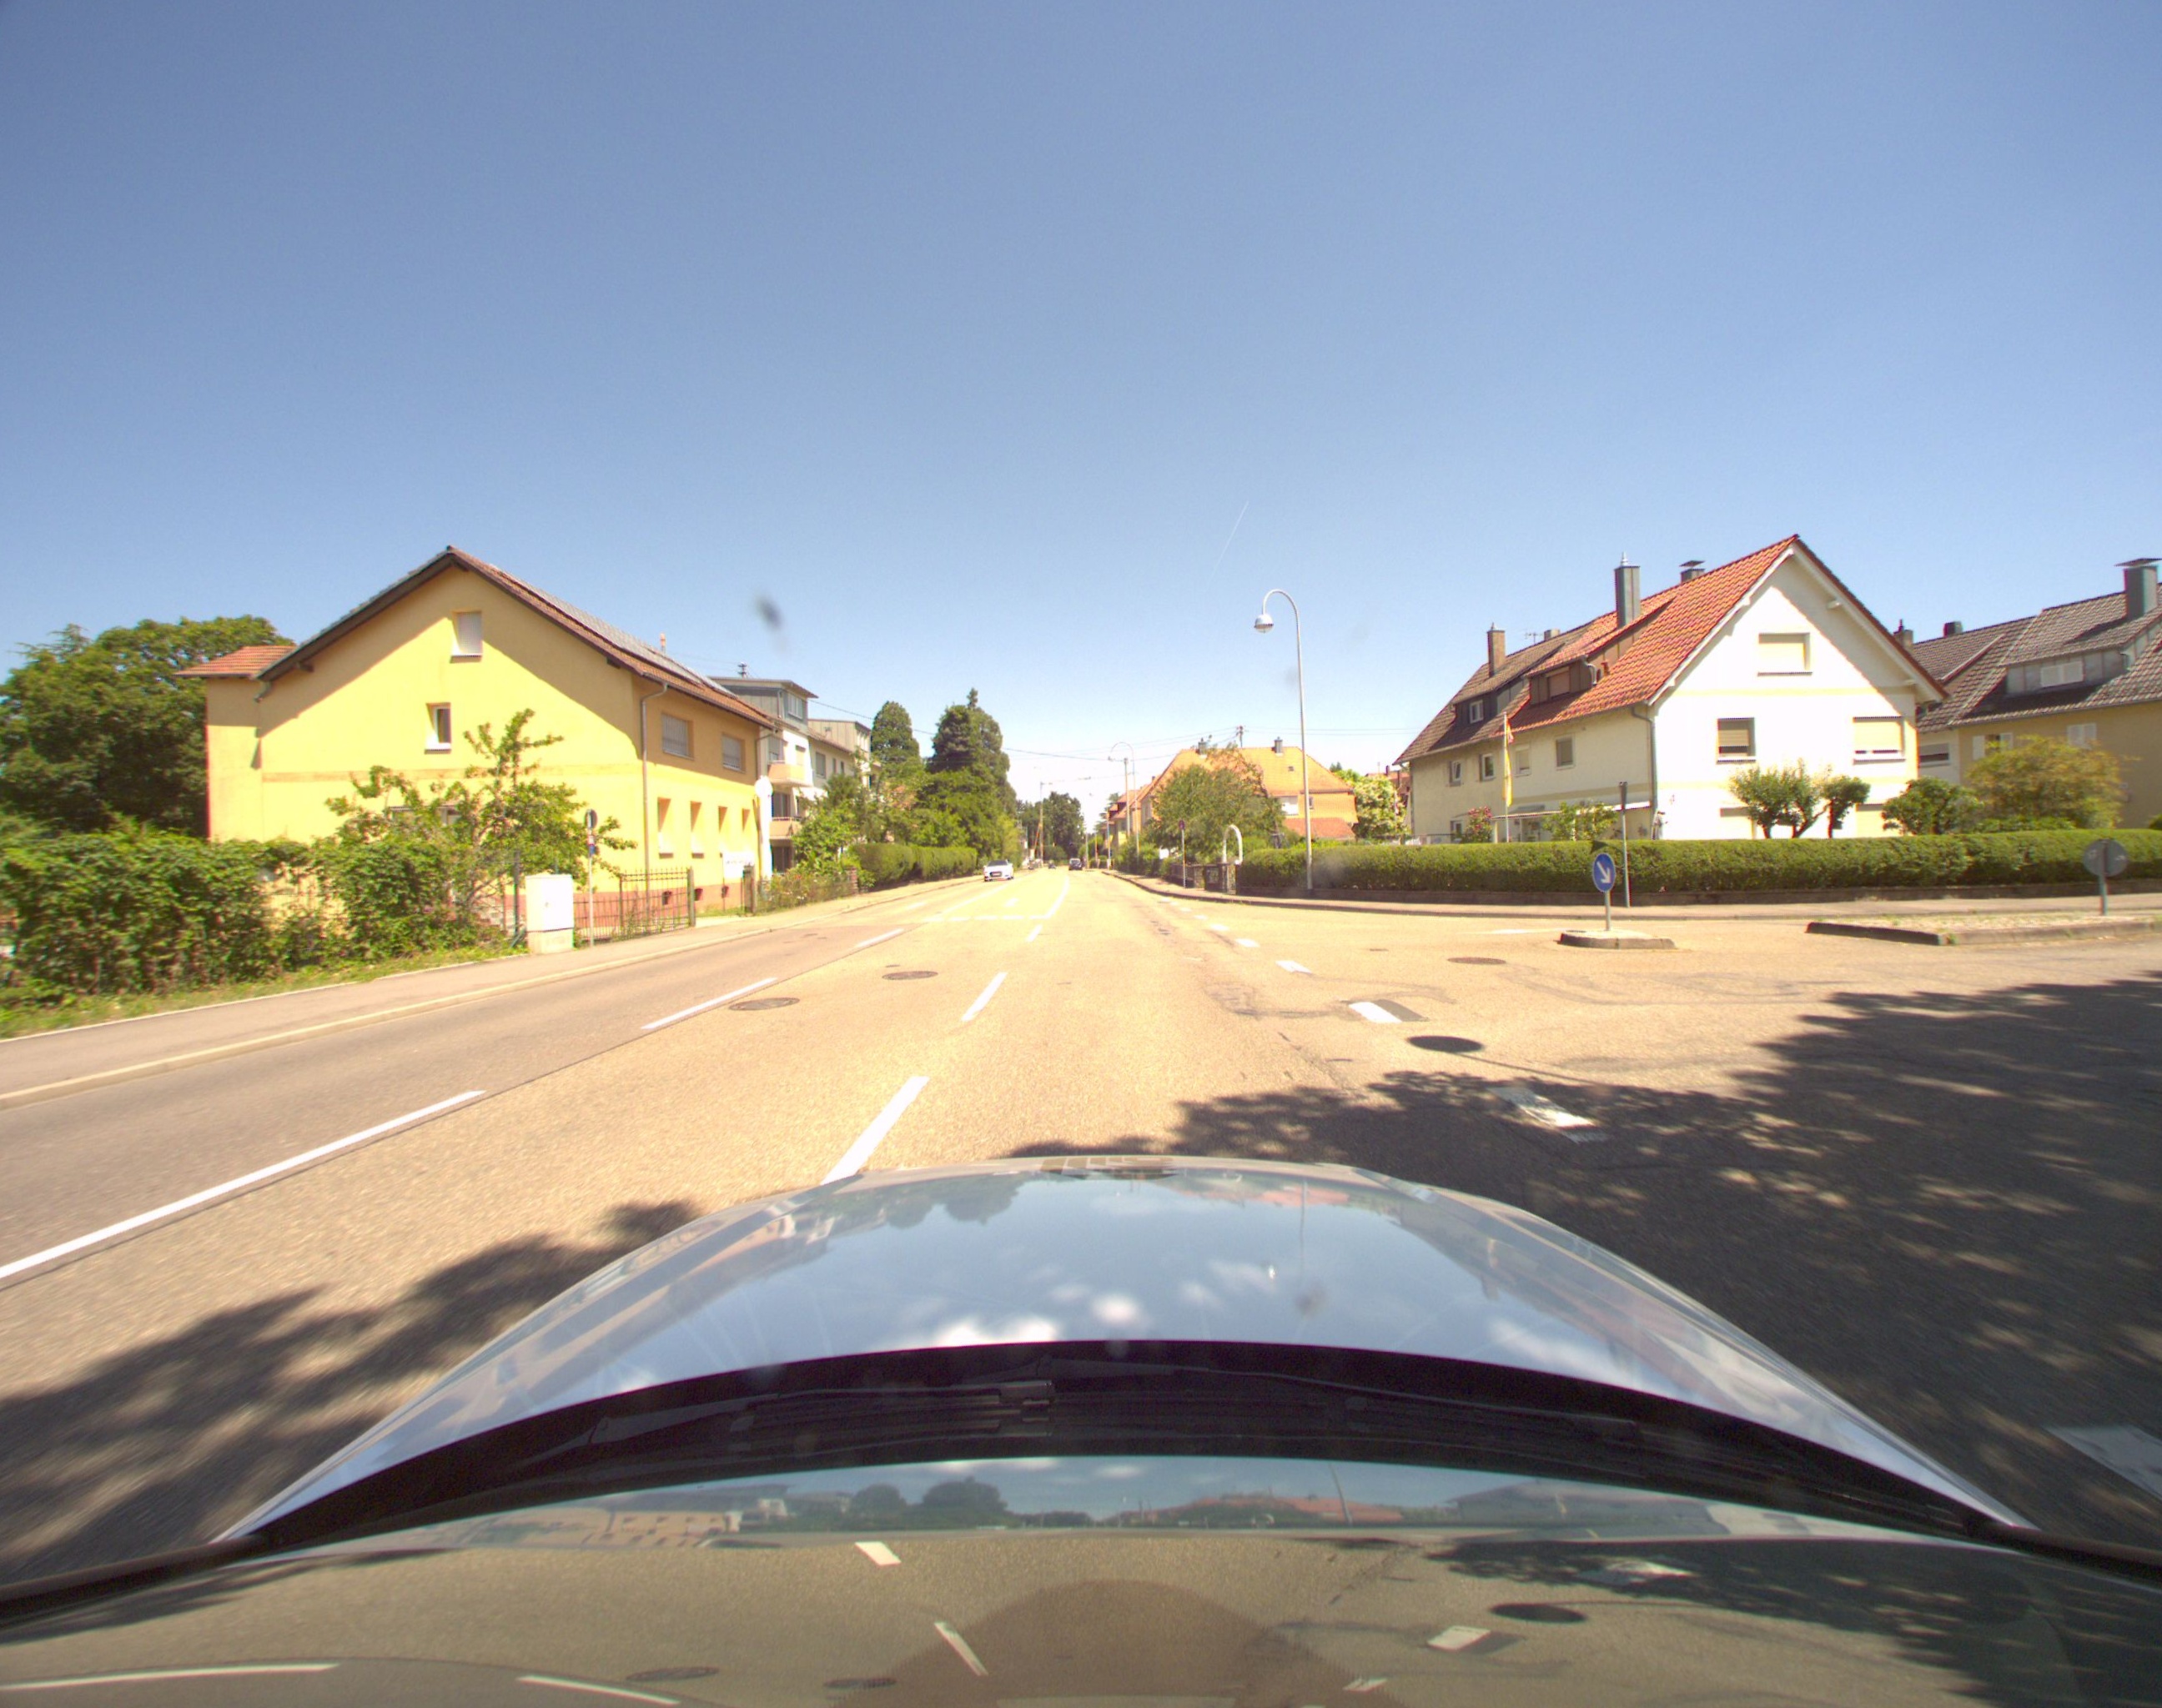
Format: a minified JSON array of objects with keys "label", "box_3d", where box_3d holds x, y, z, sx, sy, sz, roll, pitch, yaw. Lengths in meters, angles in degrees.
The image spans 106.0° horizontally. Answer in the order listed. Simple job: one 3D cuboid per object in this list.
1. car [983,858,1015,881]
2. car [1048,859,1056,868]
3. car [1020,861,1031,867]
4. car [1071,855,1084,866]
[{"label":"car","box_3d":[-5.490,1.016,55.100,1.675,1.372,4.206,-3,0,0]},{"label":"car","box_3d":[-7.254,2.400,203.389,1.987,1.850,4.710,-2,2,0]},{"label":"car","box_3d":[-11.994,2.184,176.034,1.652,1.389,3.539,-2,-1,4]},{"label":"car","box_3d":[-0.531,0.943,117.283,1.688,1.419,4.546,-1,-1,-2]}]
